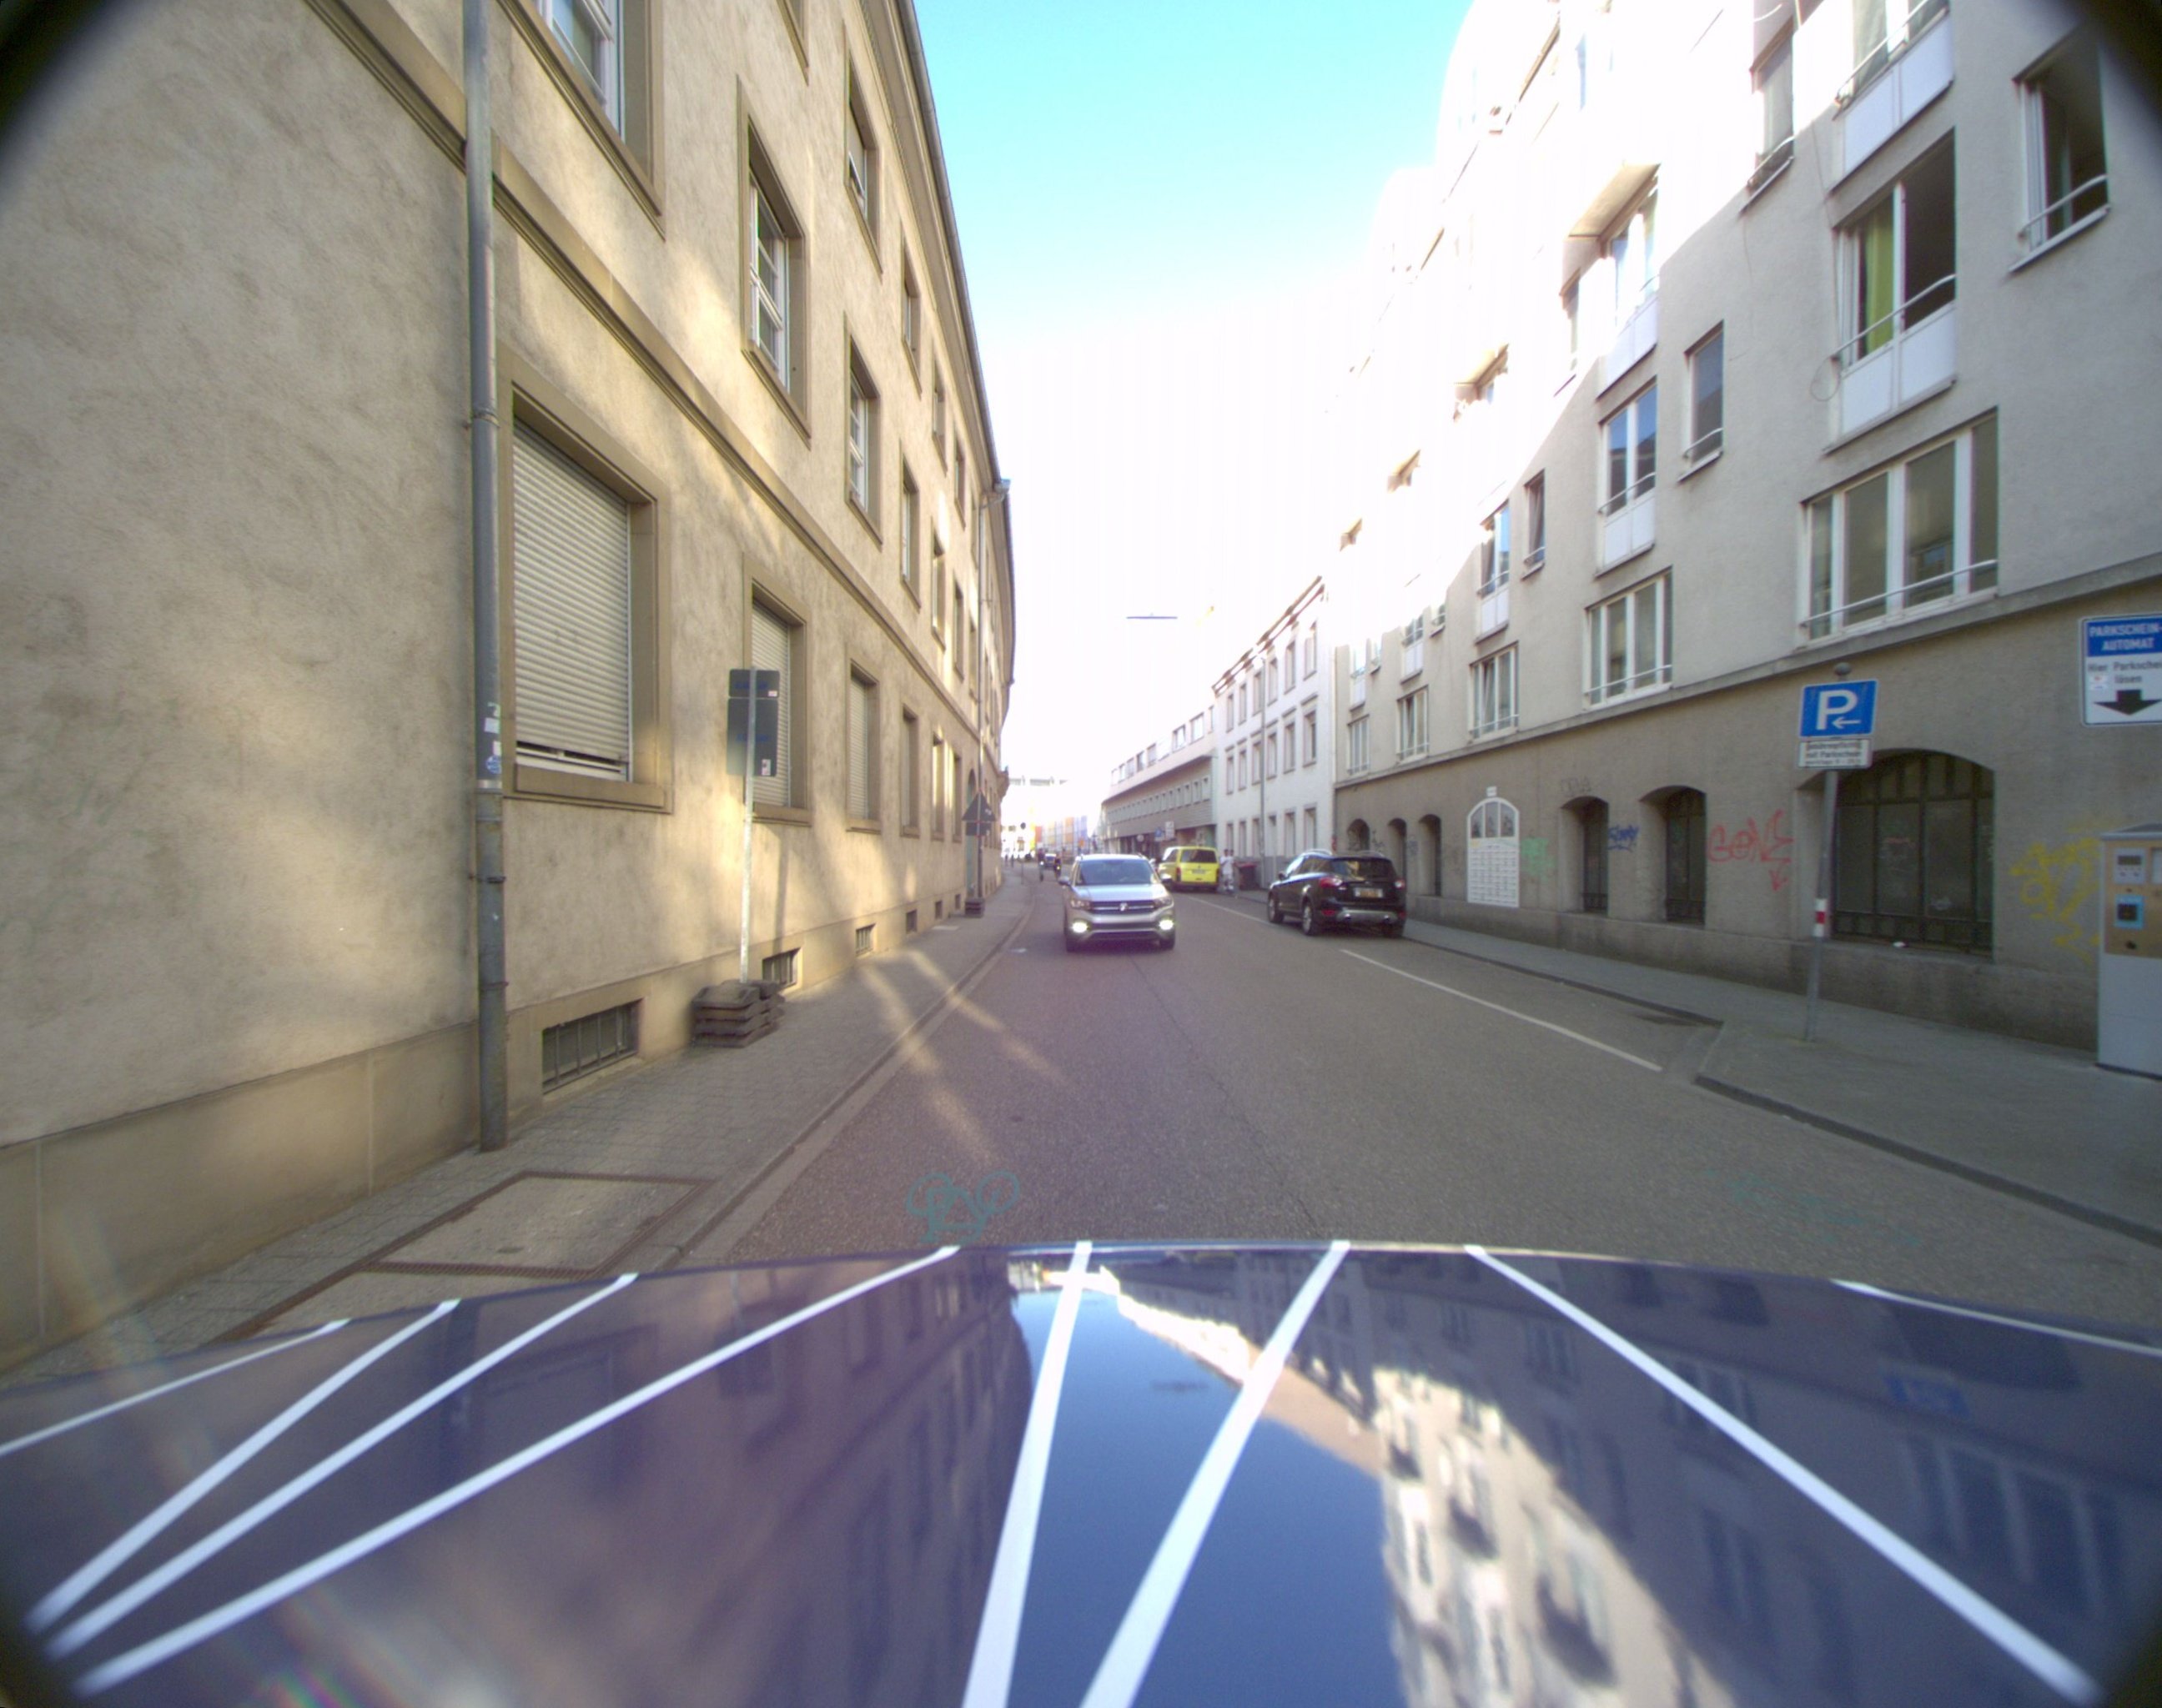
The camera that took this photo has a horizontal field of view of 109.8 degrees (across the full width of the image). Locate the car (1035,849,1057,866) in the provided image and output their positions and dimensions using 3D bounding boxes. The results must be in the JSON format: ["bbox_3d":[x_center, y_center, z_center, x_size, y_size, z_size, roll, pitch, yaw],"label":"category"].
[{"bbox_3d":[-3.448,0.351,73.889,1.720,1.569,4.186,0,1,-9],"label":"car"}]

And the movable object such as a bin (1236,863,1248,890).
[{"bbox_3d":[6.644,0.927,31.350,0.411,1.098,0.433,0,1,-2],"label":"movable object such as a bin"}]

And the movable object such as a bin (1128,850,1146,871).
[{"bbox_3d":[4.144,0.504,56.303,1.126,1.511,1.341,0,0,-8],"label":"movable object such as a bin"}]

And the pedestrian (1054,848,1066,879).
[{"bbox_3d":[-1.232,0.541,43.879,0.603,1.770,0.651,-1,1,-9],"label":"pedestrian"}]

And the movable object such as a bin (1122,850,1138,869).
[{"bbox_3d":[3.771,0.406,58.387,0.971,1.462,1.474,0,-1,-8],"label":"movable object such as a bin"}]

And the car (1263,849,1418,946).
[{"bbox_3d":[5.216,0.790,15.881,1.744,1.701,4.190,2,0,0],"label":"car"}]

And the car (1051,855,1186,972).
[{"bbox_3d":[0.466,0.869,13.201,1.683,1.568,4.240,-3,1,-5],"label":"car"}]

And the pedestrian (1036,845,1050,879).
[{"bbox_3d":[-2.194,0.476,43.752,0.678,1.928,0.857,-1,1,-9],"label":"pedestrian"}]

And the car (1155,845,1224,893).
[{"bbox_3d":[4.563,0.586,32.716,1.885,1.856,4.862,2,0,-4],"label":"car"}]

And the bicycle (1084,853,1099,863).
[{"bbox_3d":[1.299,0.491,93.995,1.740,1.094,0.388,-4,1,-15],"label":"bicycle"}]

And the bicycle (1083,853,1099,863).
[{"bbox_3d":[1.234,0.514,92.537,1.821,1.094,0.749,-4,1,-8],"label":"bicycle"}]

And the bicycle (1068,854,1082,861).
[{"bbox_3d":[-0.824,0.466,106.284,1.804,0.941,0.388,-4,1,-8],"label":"bicycle"}]

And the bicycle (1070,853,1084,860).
[{"bbox_3d":[-0.564,0.332,107.018,1.804,0.941,0.388,-4,1,-8],"label":"bicycle"}]

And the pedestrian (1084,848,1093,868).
[{"bbox_3d":[0.636,0.352,64.883,0.494,1.660,0.626,-3,1,-20],"label":"pedestrian"}]

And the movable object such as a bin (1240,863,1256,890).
[{"bbox_3d":[6.731,0.903,30.573,0.542,1.098,0.433,0,1,-2],"label":"movable object such as a bin"}]

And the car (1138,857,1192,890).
[{"bbox_3d":[4.178,0.928,38.391,1.824,1.477,4.074,2,0,-6],"label":"car"}]
